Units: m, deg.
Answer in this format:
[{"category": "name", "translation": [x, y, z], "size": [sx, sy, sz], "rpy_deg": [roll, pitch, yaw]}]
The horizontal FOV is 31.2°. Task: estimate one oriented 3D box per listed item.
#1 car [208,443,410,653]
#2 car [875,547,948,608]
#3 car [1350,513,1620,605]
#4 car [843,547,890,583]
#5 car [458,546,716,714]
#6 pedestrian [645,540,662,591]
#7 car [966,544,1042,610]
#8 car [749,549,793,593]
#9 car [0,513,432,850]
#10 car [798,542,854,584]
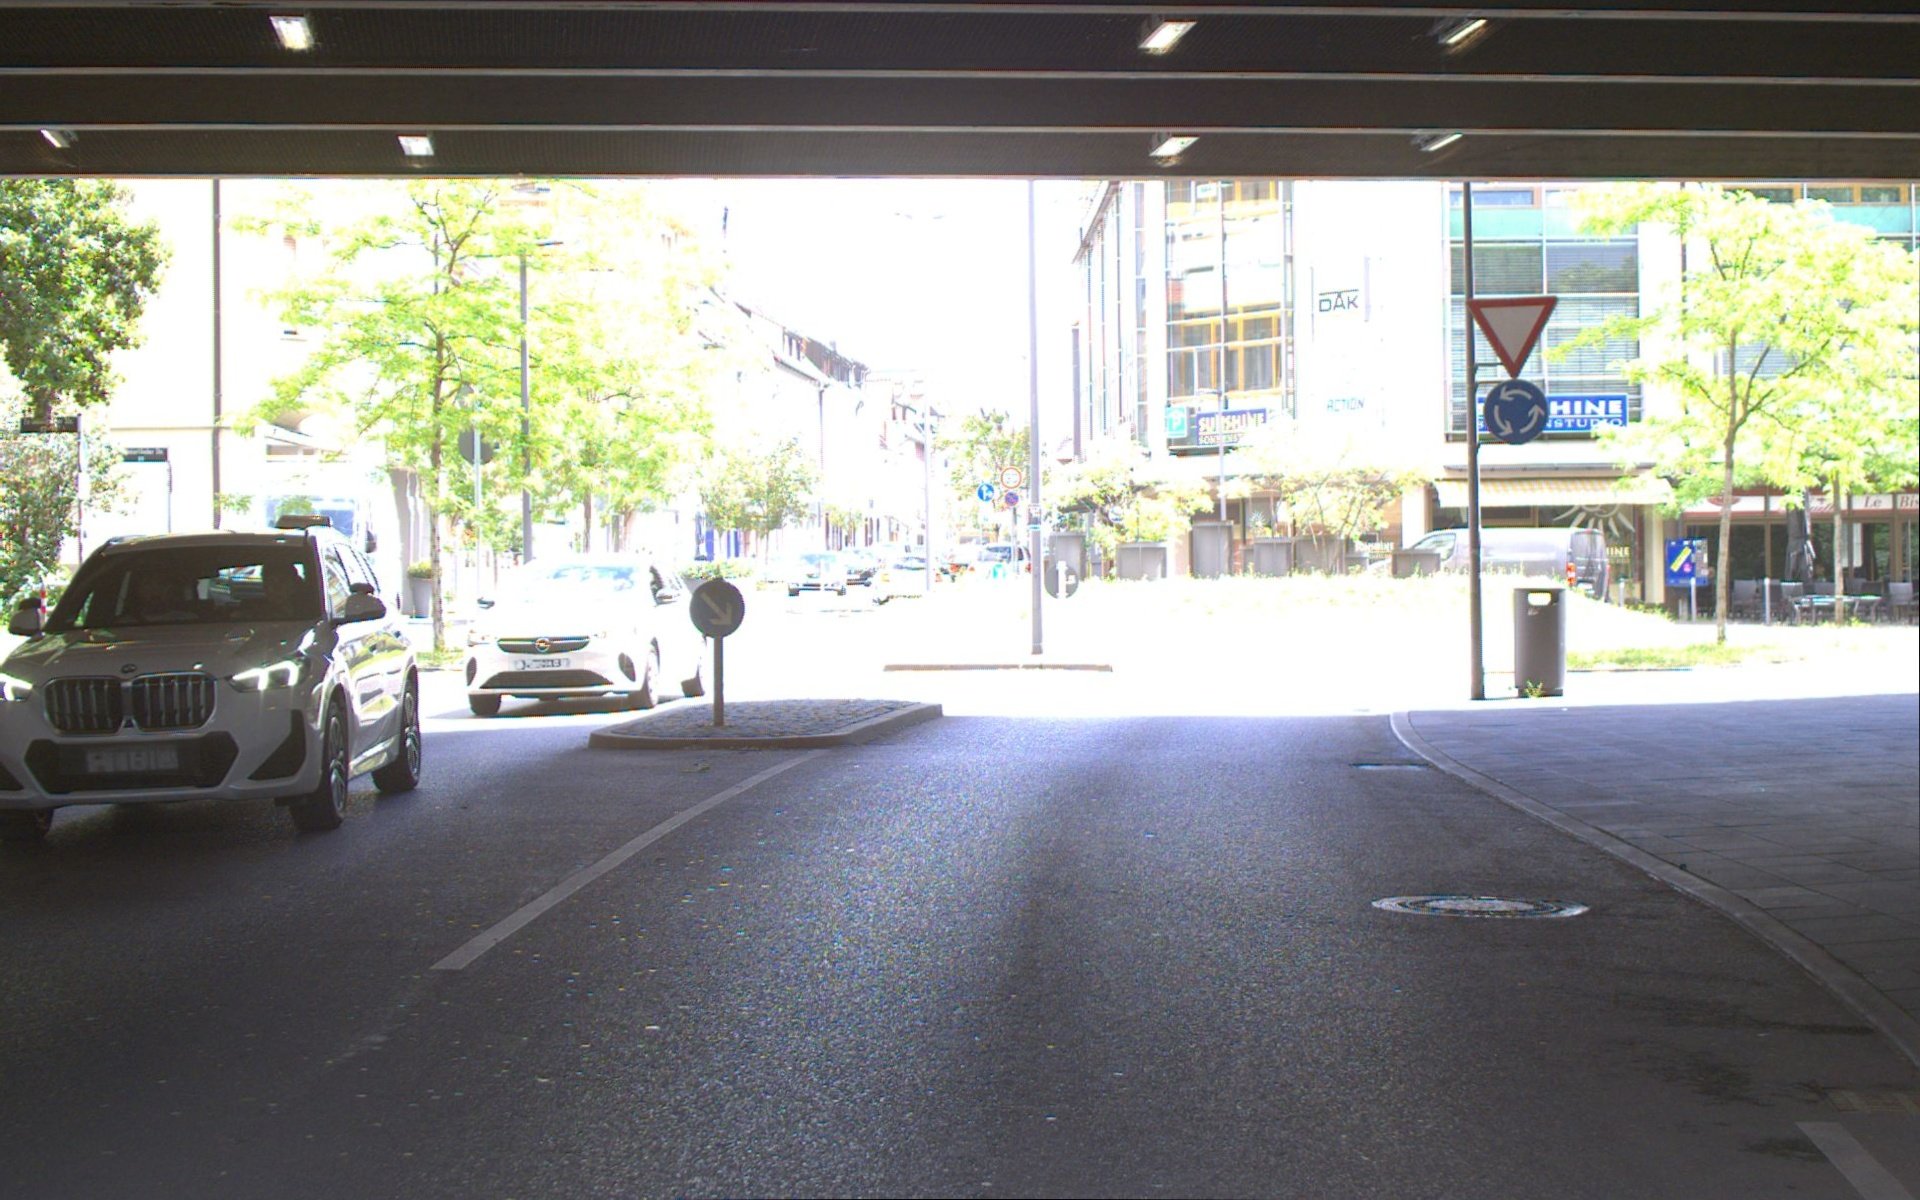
[{"category": "car", "translation": [-8.635, -0.691, 46.085], "size": [1.967, 2.598, 5.932], "rpy_deg": [1, 1, -4]}, {"category": "car", "translation": [-1.253, -0.581, 89.230], "size": [1.824, 1.514, 4.233], "rpy_deg": [-1, 0, -1]}, {"category": "car", "translation": [10.007, -0.784, 65.657], "size": [4.687, 1.682, 1.996], "rpy_deg": [0, 1, 35]}, {"category": "car", "translation": [-3.660, -1.381, 133.857], "size": [1.709, 1.349, 4.001], "rpy_deg": [0, 1, -4]}, {"category": "car", "translation": [-3.481, 0.240, 32.699], "size": [1.672, 1.442, 3.852], "rpy_deg": [-1, 1, 5]}, {"category": "pedestrian", "translation": [-10.224, -1.158, 114.771], "size": [0.551, 1.680, 0.516], "rpy_deg": [0, 1, -3]}, {"category": "car", "translation": [1.217, -0.633, 93.642], "size": [1.824, 1.725, 4.232], "rpy_deg": [-1, 0, 3]}, {"category": "car", "translation": [-7.389, -1.143, 134.123], "size": [1.709, 1.706, 4.001], "rpy_deg": [0, 1, -4]}, {"category": "car", "translation": [-4.181, 0.375, 19.314], "size": [1.825, 1.648, 4.214], "rpy_deg": [-2, 1, -1]}, {"category": "car", "translation": [-4.378, -1.213, 111.738], "size": [1.709, 1.349, 4.001], "rpy_deg": [0, 1, -4]}]
